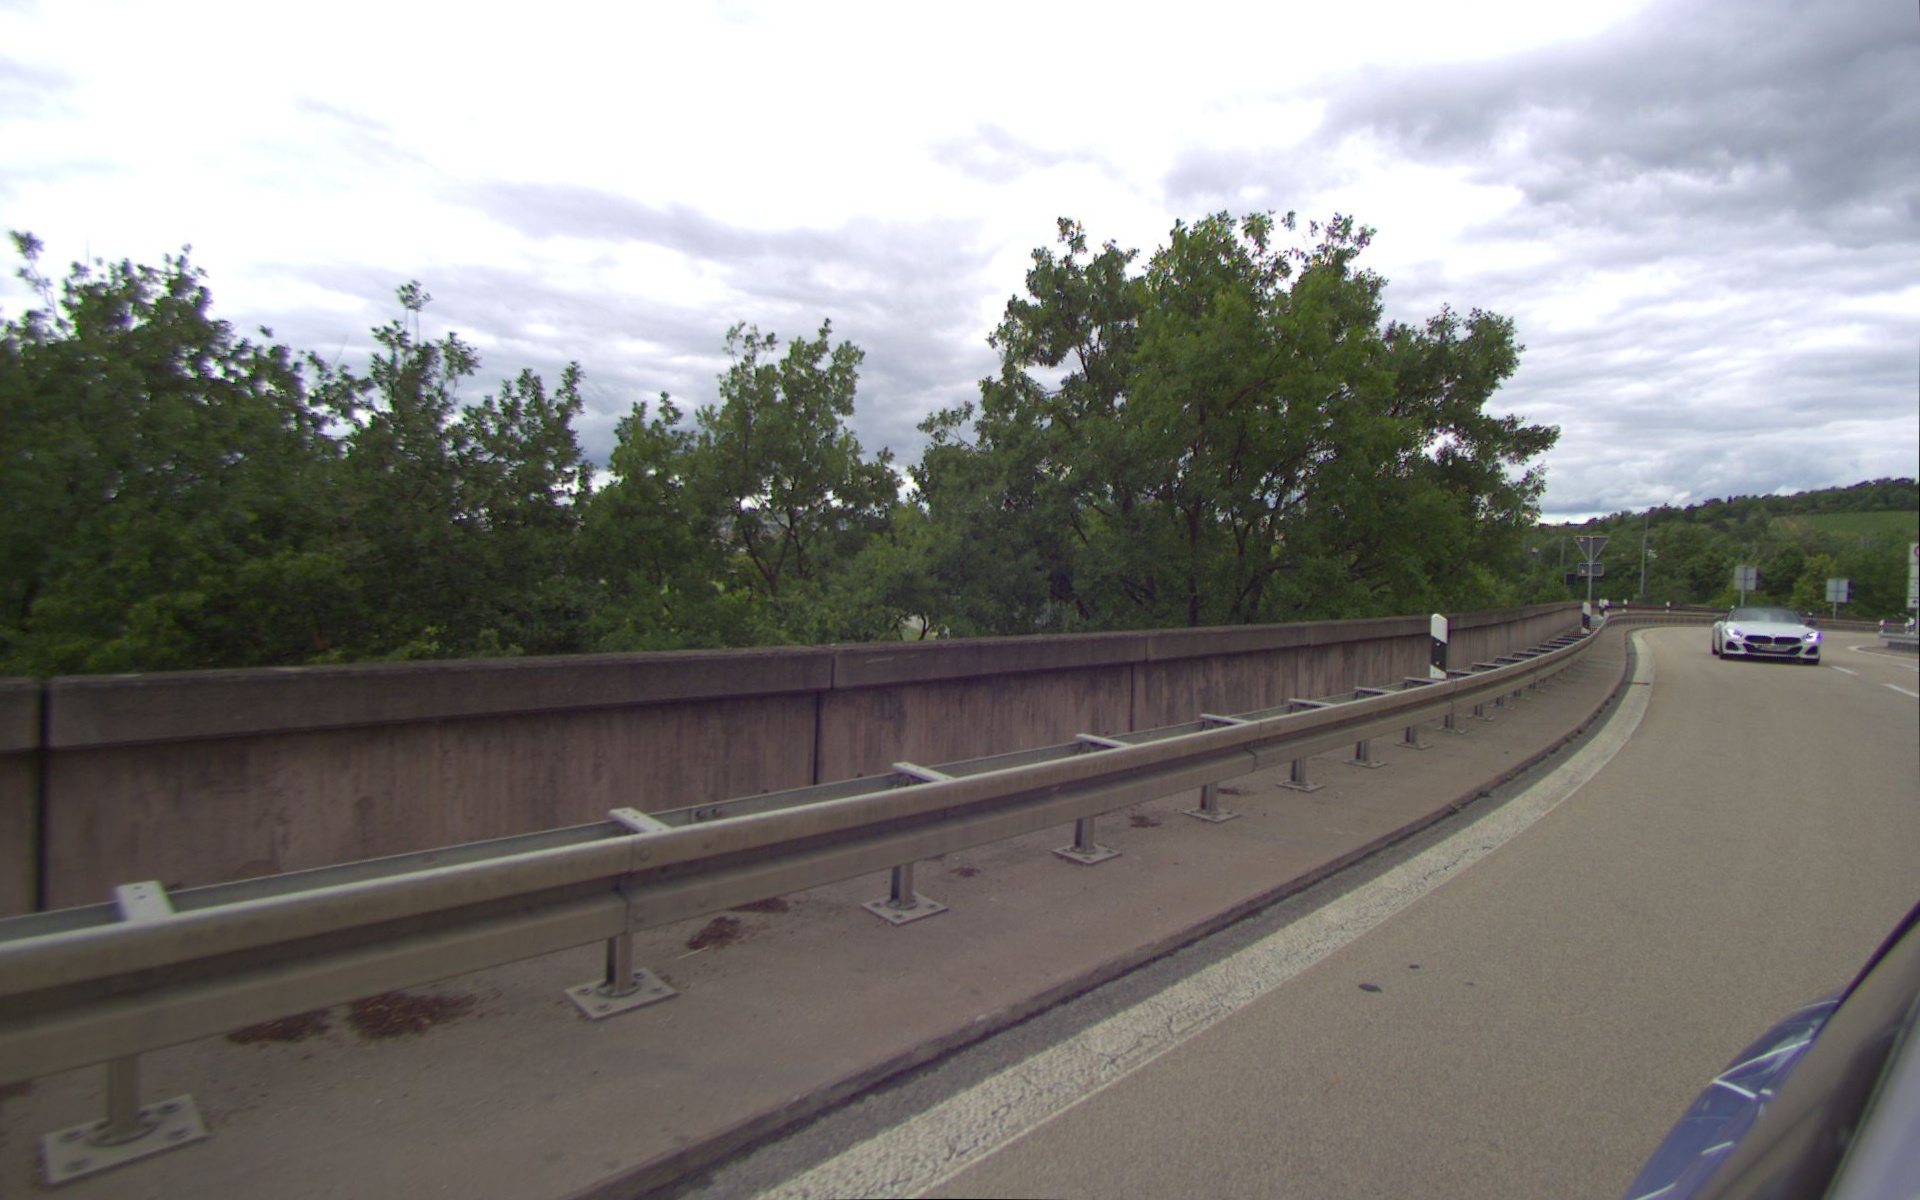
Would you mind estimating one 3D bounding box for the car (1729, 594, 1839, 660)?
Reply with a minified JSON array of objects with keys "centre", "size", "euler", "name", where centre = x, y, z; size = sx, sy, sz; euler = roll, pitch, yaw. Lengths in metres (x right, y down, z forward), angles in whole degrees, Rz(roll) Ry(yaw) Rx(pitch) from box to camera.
[{"centre":[20.085,0.589,24.844],"size":[1.854,1.361,4.761],"euler":[3,2,37],"name":"car"}]
